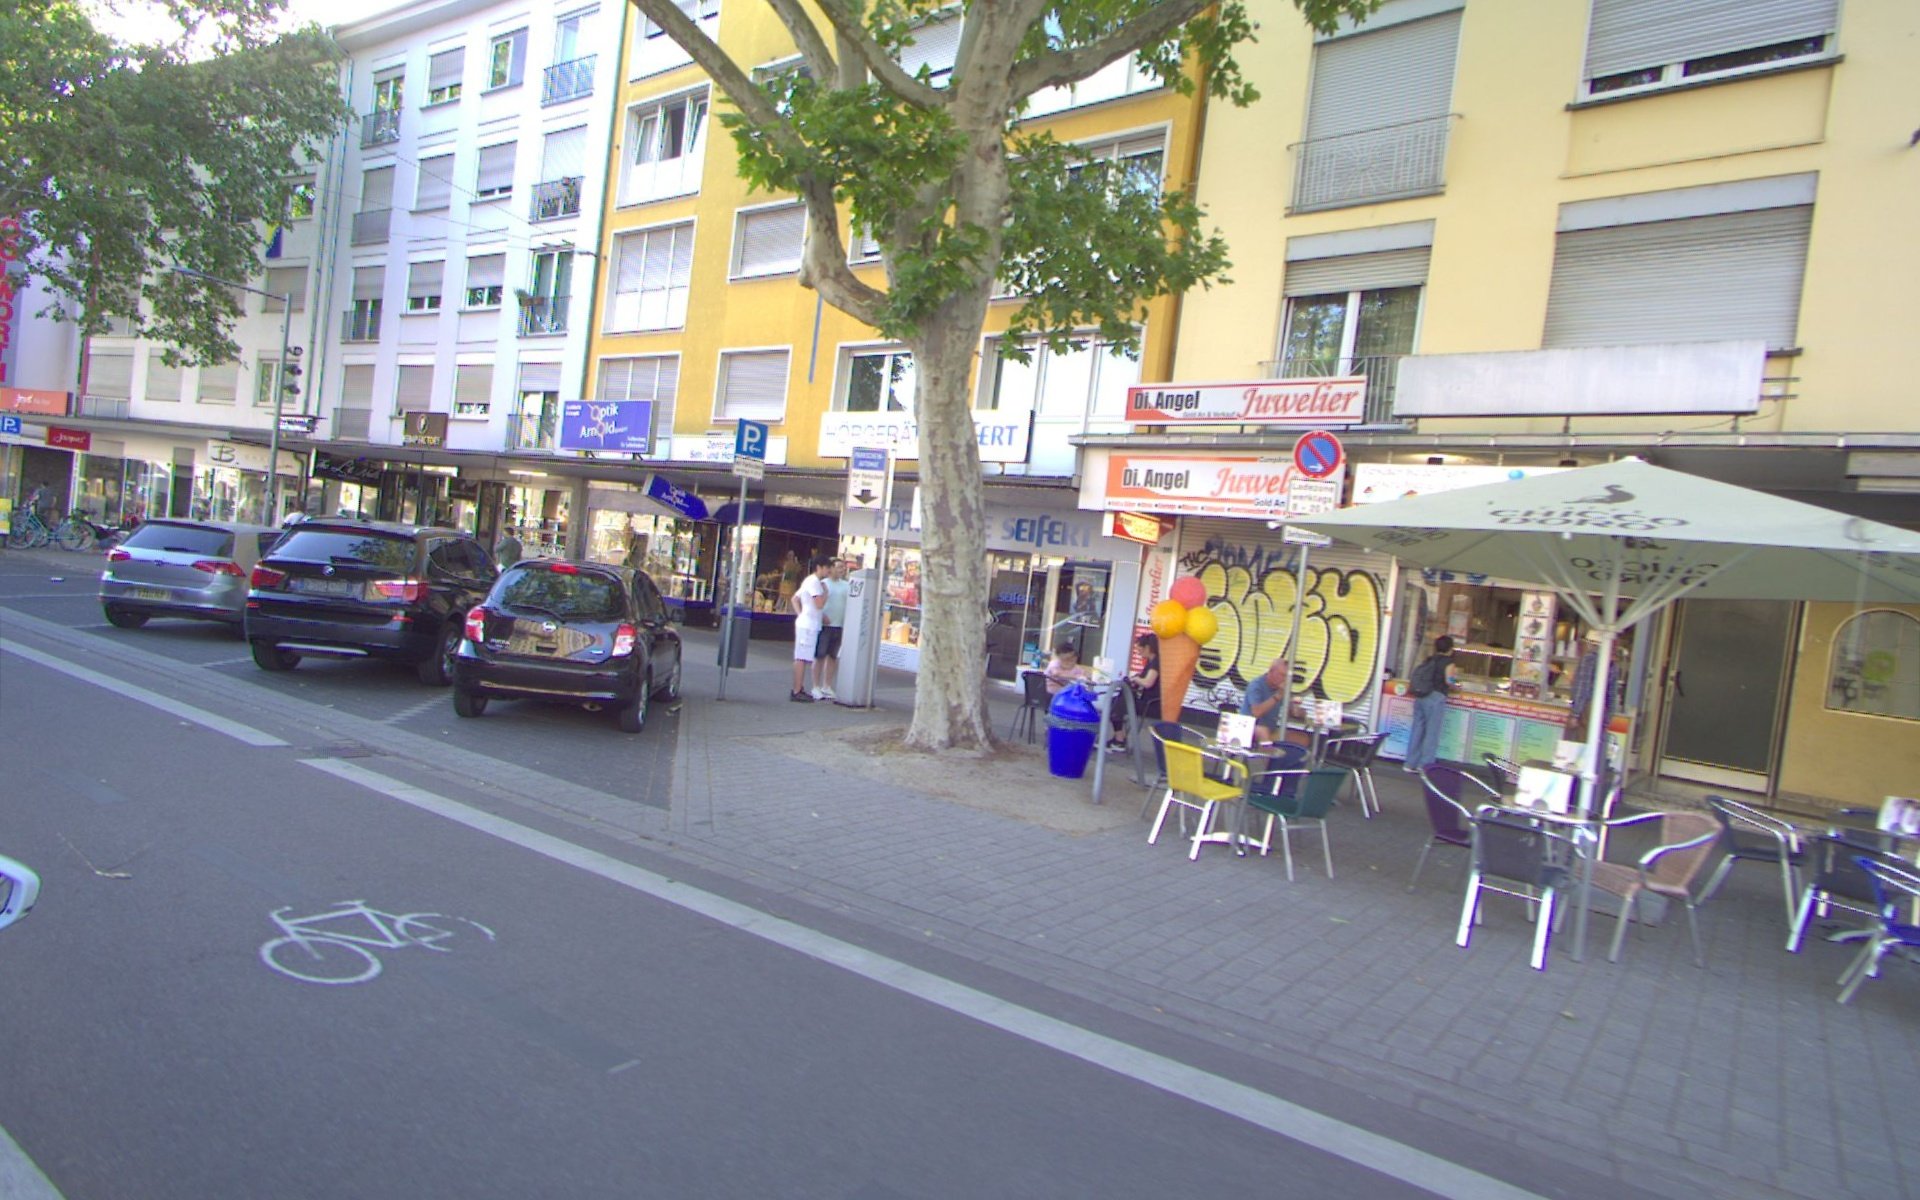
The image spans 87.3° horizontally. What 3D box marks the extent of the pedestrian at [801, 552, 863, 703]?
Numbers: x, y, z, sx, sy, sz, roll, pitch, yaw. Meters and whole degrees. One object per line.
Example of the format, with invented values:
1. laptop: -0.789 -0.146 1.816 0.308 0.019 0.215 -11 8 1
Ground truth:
1. pedestrian: -1.634 0.352 12.891 0.466 1.855 0.517 6 1 10

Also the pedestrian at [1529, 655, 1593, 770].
1. pedestrian: 7.331 1.363 12.267 0.500 1.313 0.425 7 2 36

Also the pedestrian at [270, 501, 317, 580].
1. pedestrian: -16.999 -1.518 25.655 0.812 1.900 0.642 7 2 40

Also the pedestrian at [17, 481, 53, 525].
1. pedestrian: -39.434 -4.135 42.902 0.820 1.701 0.749 9 2 26

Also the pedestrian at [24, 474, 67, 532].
1. pedestrian: -30.713 -3.249 33.778 0.751 1.816 0.781 7 1 32

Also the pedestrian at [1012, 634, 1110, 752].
1. pedestrian: 1.083 0.986 10.773 0.738 1.128 0.584 7 0 33

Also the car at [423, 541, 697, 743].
1. car: -3.899 0.346 10.449 1.712 1.560 3.602 6 0 -8

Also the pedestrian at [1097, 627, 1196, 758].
1. pedestrian: 2.019 0.993 10.887 0.746 1.290 0.584 7 0 33

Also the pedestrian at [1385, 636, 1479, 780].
1. pedestrian: 5.454 1.227 11.646 0.618 1.568 0.633 2 3 -27

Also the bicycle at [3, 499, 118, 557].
1. bicycle: -23.518 -1.864 26.331 0.818 1.249 2.079 7 1 37

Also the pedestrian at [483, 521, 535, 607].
1. pedestrian: -9.956 -0.784 22.203 0.776 1.816 0.705 8 5 38

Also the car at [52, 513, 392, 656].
1. car: -9.810 -0.194 13.860 1.777 1.469 4.173 6 0 -5

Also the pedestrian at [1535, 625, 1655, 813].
1. pedestrian: 6.553 1.221 10.401 0.628 1.827 0.623 6 1 -22

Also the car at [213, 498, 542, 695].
1. car: -6.459 -0.054 11.774 1.778 1.702 4.144 6 0 -8

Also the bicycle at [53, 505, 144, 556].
1. bicycle: -23.333 -1.878 27.270 0.668 1.169 1.760 8 2 40

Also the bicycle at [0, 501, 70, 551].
1. bicycle: -24.921 -1.974 26.724 0.660 1.205 1.787 6 3 24

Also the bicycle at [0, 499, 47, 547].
1. bicycle: -25.874 -2.101 27.048 0.701 1.205 1.871 7 4 40

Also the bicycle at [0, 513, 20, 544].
1. bicycle: -26.883 -2.034 27.315 0.701 0.775 1.874 9 2 40

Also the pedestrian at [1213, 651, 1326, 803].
1. pedestrian: 2.848 1.143 9.241 0.733 1.240 0.606 7 1 32

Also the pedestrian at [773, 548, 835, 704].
1. pedestrian: -1.929 0.316 12.500 0.466 1.855 0.517 6 1 4
